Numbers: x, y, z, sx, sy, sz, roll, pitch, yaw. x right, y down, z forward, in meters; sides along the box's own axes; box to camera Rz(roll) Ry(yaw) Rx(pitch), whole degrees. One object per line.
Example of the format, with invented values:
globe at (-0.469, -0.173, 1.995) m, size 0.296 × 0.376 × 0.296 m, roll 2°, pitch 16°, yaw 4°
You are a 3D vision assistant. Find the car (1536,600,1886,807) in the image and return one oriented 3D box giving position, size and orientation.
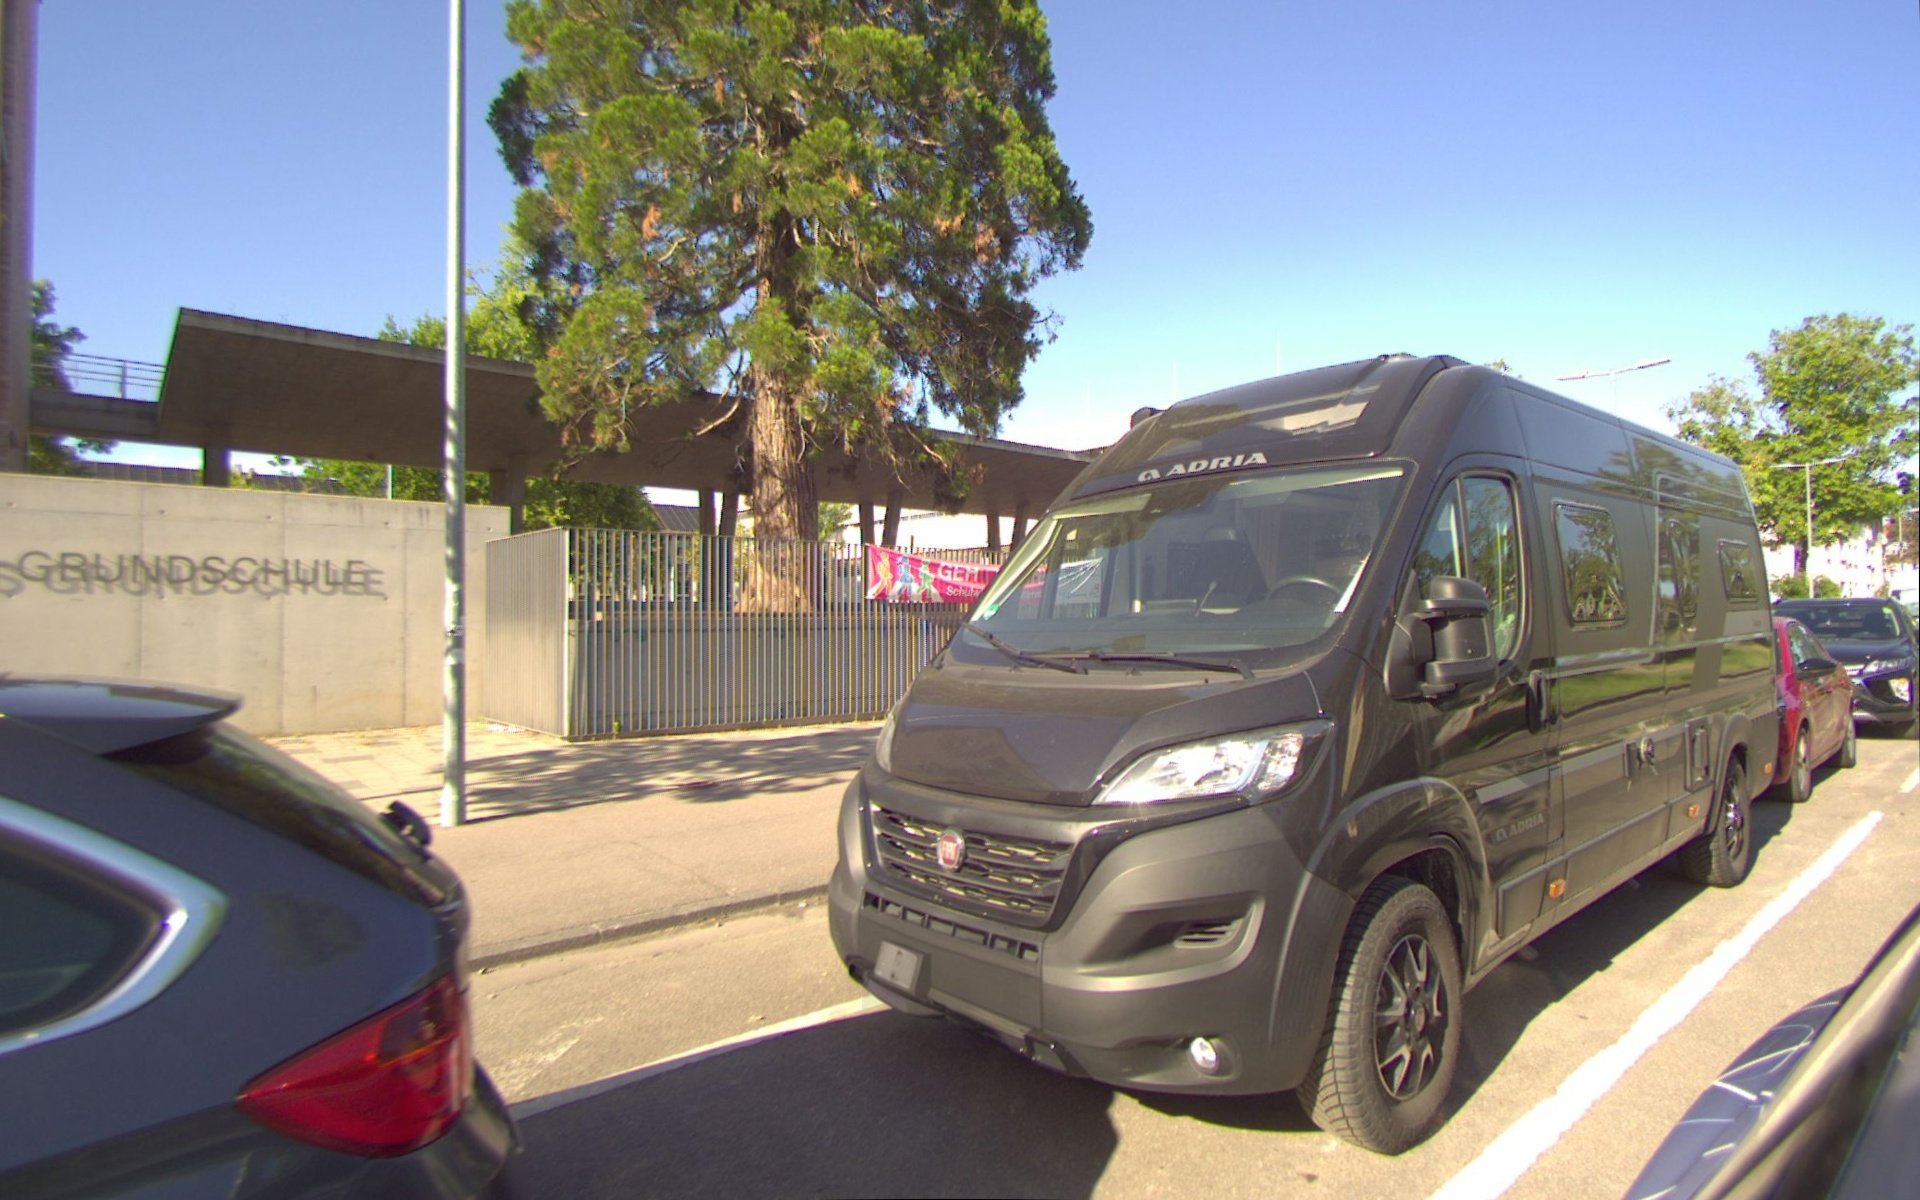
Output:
car at (6.982, 0.757, 9.271) m, size 3.881 × 1.474 × 1.797 m, roll 0°, pitch -1°, yaw -42°

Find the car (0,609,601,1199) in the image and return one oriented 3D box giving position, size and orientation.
car at (-2.838, 0.756, 0.618) m, size 4.554 × 1.438 × 1.997 m, roll 0°, pitch -1°, yaw -40°

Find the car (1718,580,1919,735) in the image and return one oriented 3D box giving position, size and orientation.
car at (11.399, 0.619, 12.971) m, size 4.426 × 1.661 × 1.848 m, roll 0°, pitch -1°, yaw -42°

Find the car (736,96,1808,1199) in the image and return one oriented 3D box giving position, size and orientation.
car at (2.268, 0.227, 5.035) m, size 6.420 × 2.548 × 2.117 m, roll 0°, pitch -1°, yaw -42°

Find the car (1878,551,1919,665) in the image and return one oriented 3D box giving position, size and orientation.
car at (24.239, 0.152, 24.513) m, size 5.337 × 2.607 × 2.244 m, roll 0°, pitch -2°, yaw -41°
